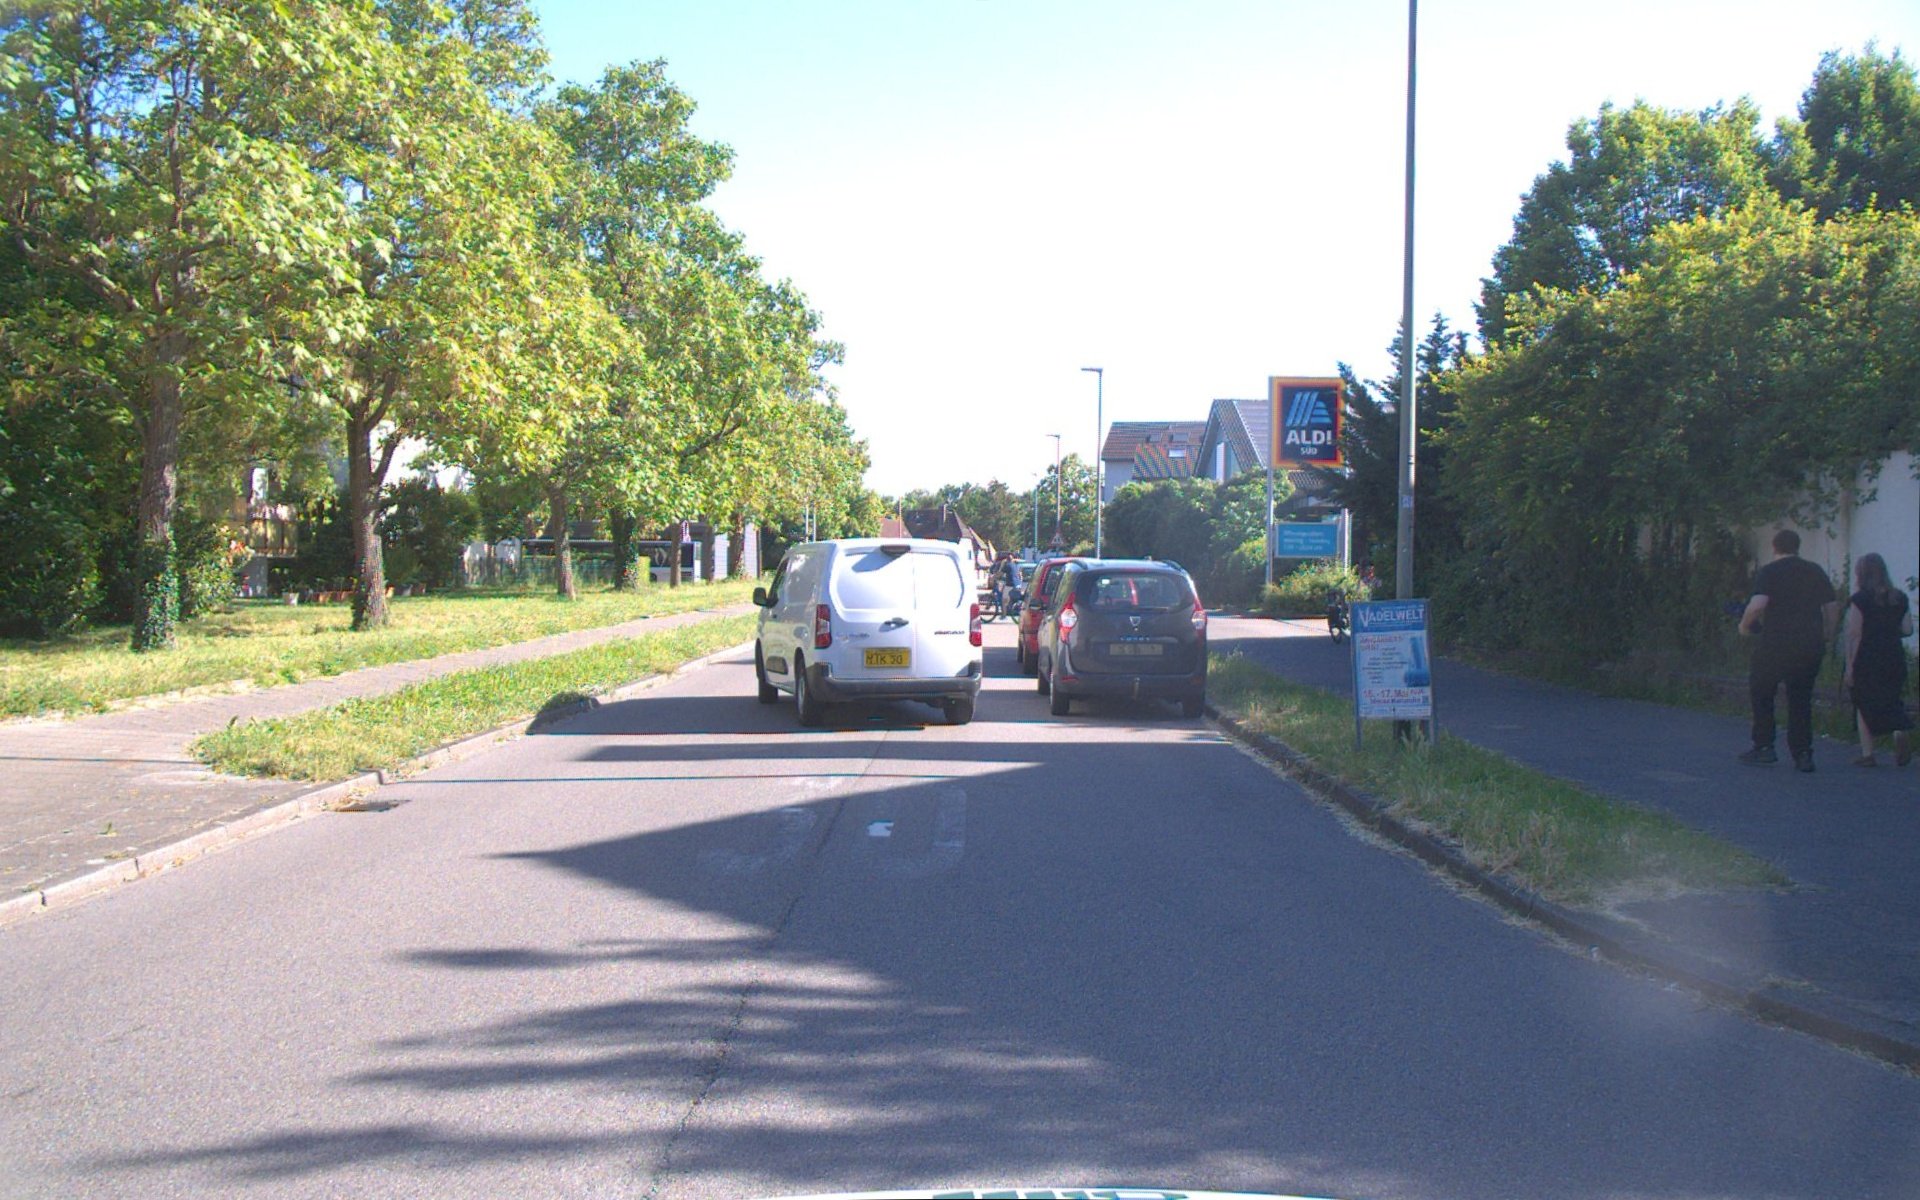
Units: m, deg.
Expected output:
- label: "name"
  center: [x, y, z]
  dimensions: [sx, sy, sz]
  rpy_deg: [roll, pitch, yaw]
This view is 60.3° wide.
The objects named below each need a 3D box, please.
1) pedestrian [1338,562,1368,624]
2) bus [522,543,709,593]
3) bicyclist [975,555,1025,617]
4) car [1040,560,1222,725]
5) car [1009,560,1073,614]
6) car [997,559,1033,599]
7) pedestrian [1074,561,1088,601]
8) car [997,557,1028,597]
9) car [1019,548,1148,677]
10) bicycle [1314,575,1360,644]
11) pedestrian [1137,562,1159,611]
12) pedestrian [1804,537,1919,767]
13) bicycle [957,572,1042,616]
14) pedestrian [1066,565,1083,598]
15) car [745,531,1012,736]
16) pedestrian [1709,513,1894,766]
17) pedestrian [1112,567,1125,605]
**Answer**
- label: "pedestrian"
  center: [10.736, -0.192, 45.183]
  dimensions: [0.677, 1.660, 0.777]
  rpy_deg: [1, 1, 22]
- label: "bus"
  center: [-20.131, -1.855, 97.166]
  dimensions: [10.343, 2.874, 3.047]
  rpy_deg: [0, 0, -2]
- label: "bicyclist"
  center: [1.057, -0.371, 43.865]
  dimensions: [0.948, 1.612, 0.904]
  rpy_deg: [1, 0, 39]
- label: "car"
  center: [1.860, 0.387, 19.188]
  dimensions: [1.689, 1.685, 4.353]
  rpy_deg: [0, 1, 0]
- label: "car"
  center: [2.546, -0.424, 52.853]
  dimensions: [1.646, 1.627, 4.026]
  rpy_deg: [1, 1, -3]
- label: "car"
  center: [2.715, -1.049, 81.659]
  dimensions: [1.688, 1.869, 4.001]
  rpy_deg: [1, 1, 2]
- label: "pedestrian"
  center: [5.070, -0.821, 69.365]
  dimensions: [0.555, 1.665, 0.547]
  rpy_deg: [1, 1, 6]
- label: "car"
  center: [3.661, -1.584, 115.657]
  dimensions: [1.828, 2.607, 4.767]
  rpy_deg: [3, 0, -1]
- label: "car"
  center: [1.848, 0.128, 25.981]
  dimensions: [1.802, 1.837, 4.655]
  rpy_deg: [0, 1, 2]
- label: "bicycle"
  center: [7.102, 0.166, 31.111]
  dimensions: [0.705, 1.242, 1.897]
  rpy_deg: [-1, 0, 17]
- label: "pedestrian"
  center: [6.973, -0.503, 61.259]
  dimensions: [0.781, 1.813, 0.809]
  rpy_deg: [1, 1, 9]
- label: "pedestrian"
  center: [6.769, 0.368, 12.260]
  dimensions: [0.561, 1.637, 0.792]
  rpy_deg: [-1, 0, -3]
- label: "bicycle"
  center: [1.043, -0.164, 43.862]
  dimensions: [2.236, 1.158, 0.786]
  rpy_deg: [0, 1, 38]
- label: "pedestrian"
  center: [6.513, -1.058, 93.972]
  dimensions: [0.778, 1.893, 0.873]
  rpy_deg: [1, 1, -7]
- label: "car"
  center: [-1.015, 0.267, 17.727]
  dimensions: [1.961, 1.914, 4.271]
  rpy_deg: [0, 1, -16]
- label: "pedestrian"
  center: [6.097, 0.272, 12.039]
  dimensions: [0.788, 1.747, 0.983]
  rpy_deg: [-1, 0, -3]
- label: "pedestrian"
  center: [6.965, -0.610, 72.538]
  dimensions: [0.555, 1.665, 0.547]
  rpy_deg: [1, 1, 6]
